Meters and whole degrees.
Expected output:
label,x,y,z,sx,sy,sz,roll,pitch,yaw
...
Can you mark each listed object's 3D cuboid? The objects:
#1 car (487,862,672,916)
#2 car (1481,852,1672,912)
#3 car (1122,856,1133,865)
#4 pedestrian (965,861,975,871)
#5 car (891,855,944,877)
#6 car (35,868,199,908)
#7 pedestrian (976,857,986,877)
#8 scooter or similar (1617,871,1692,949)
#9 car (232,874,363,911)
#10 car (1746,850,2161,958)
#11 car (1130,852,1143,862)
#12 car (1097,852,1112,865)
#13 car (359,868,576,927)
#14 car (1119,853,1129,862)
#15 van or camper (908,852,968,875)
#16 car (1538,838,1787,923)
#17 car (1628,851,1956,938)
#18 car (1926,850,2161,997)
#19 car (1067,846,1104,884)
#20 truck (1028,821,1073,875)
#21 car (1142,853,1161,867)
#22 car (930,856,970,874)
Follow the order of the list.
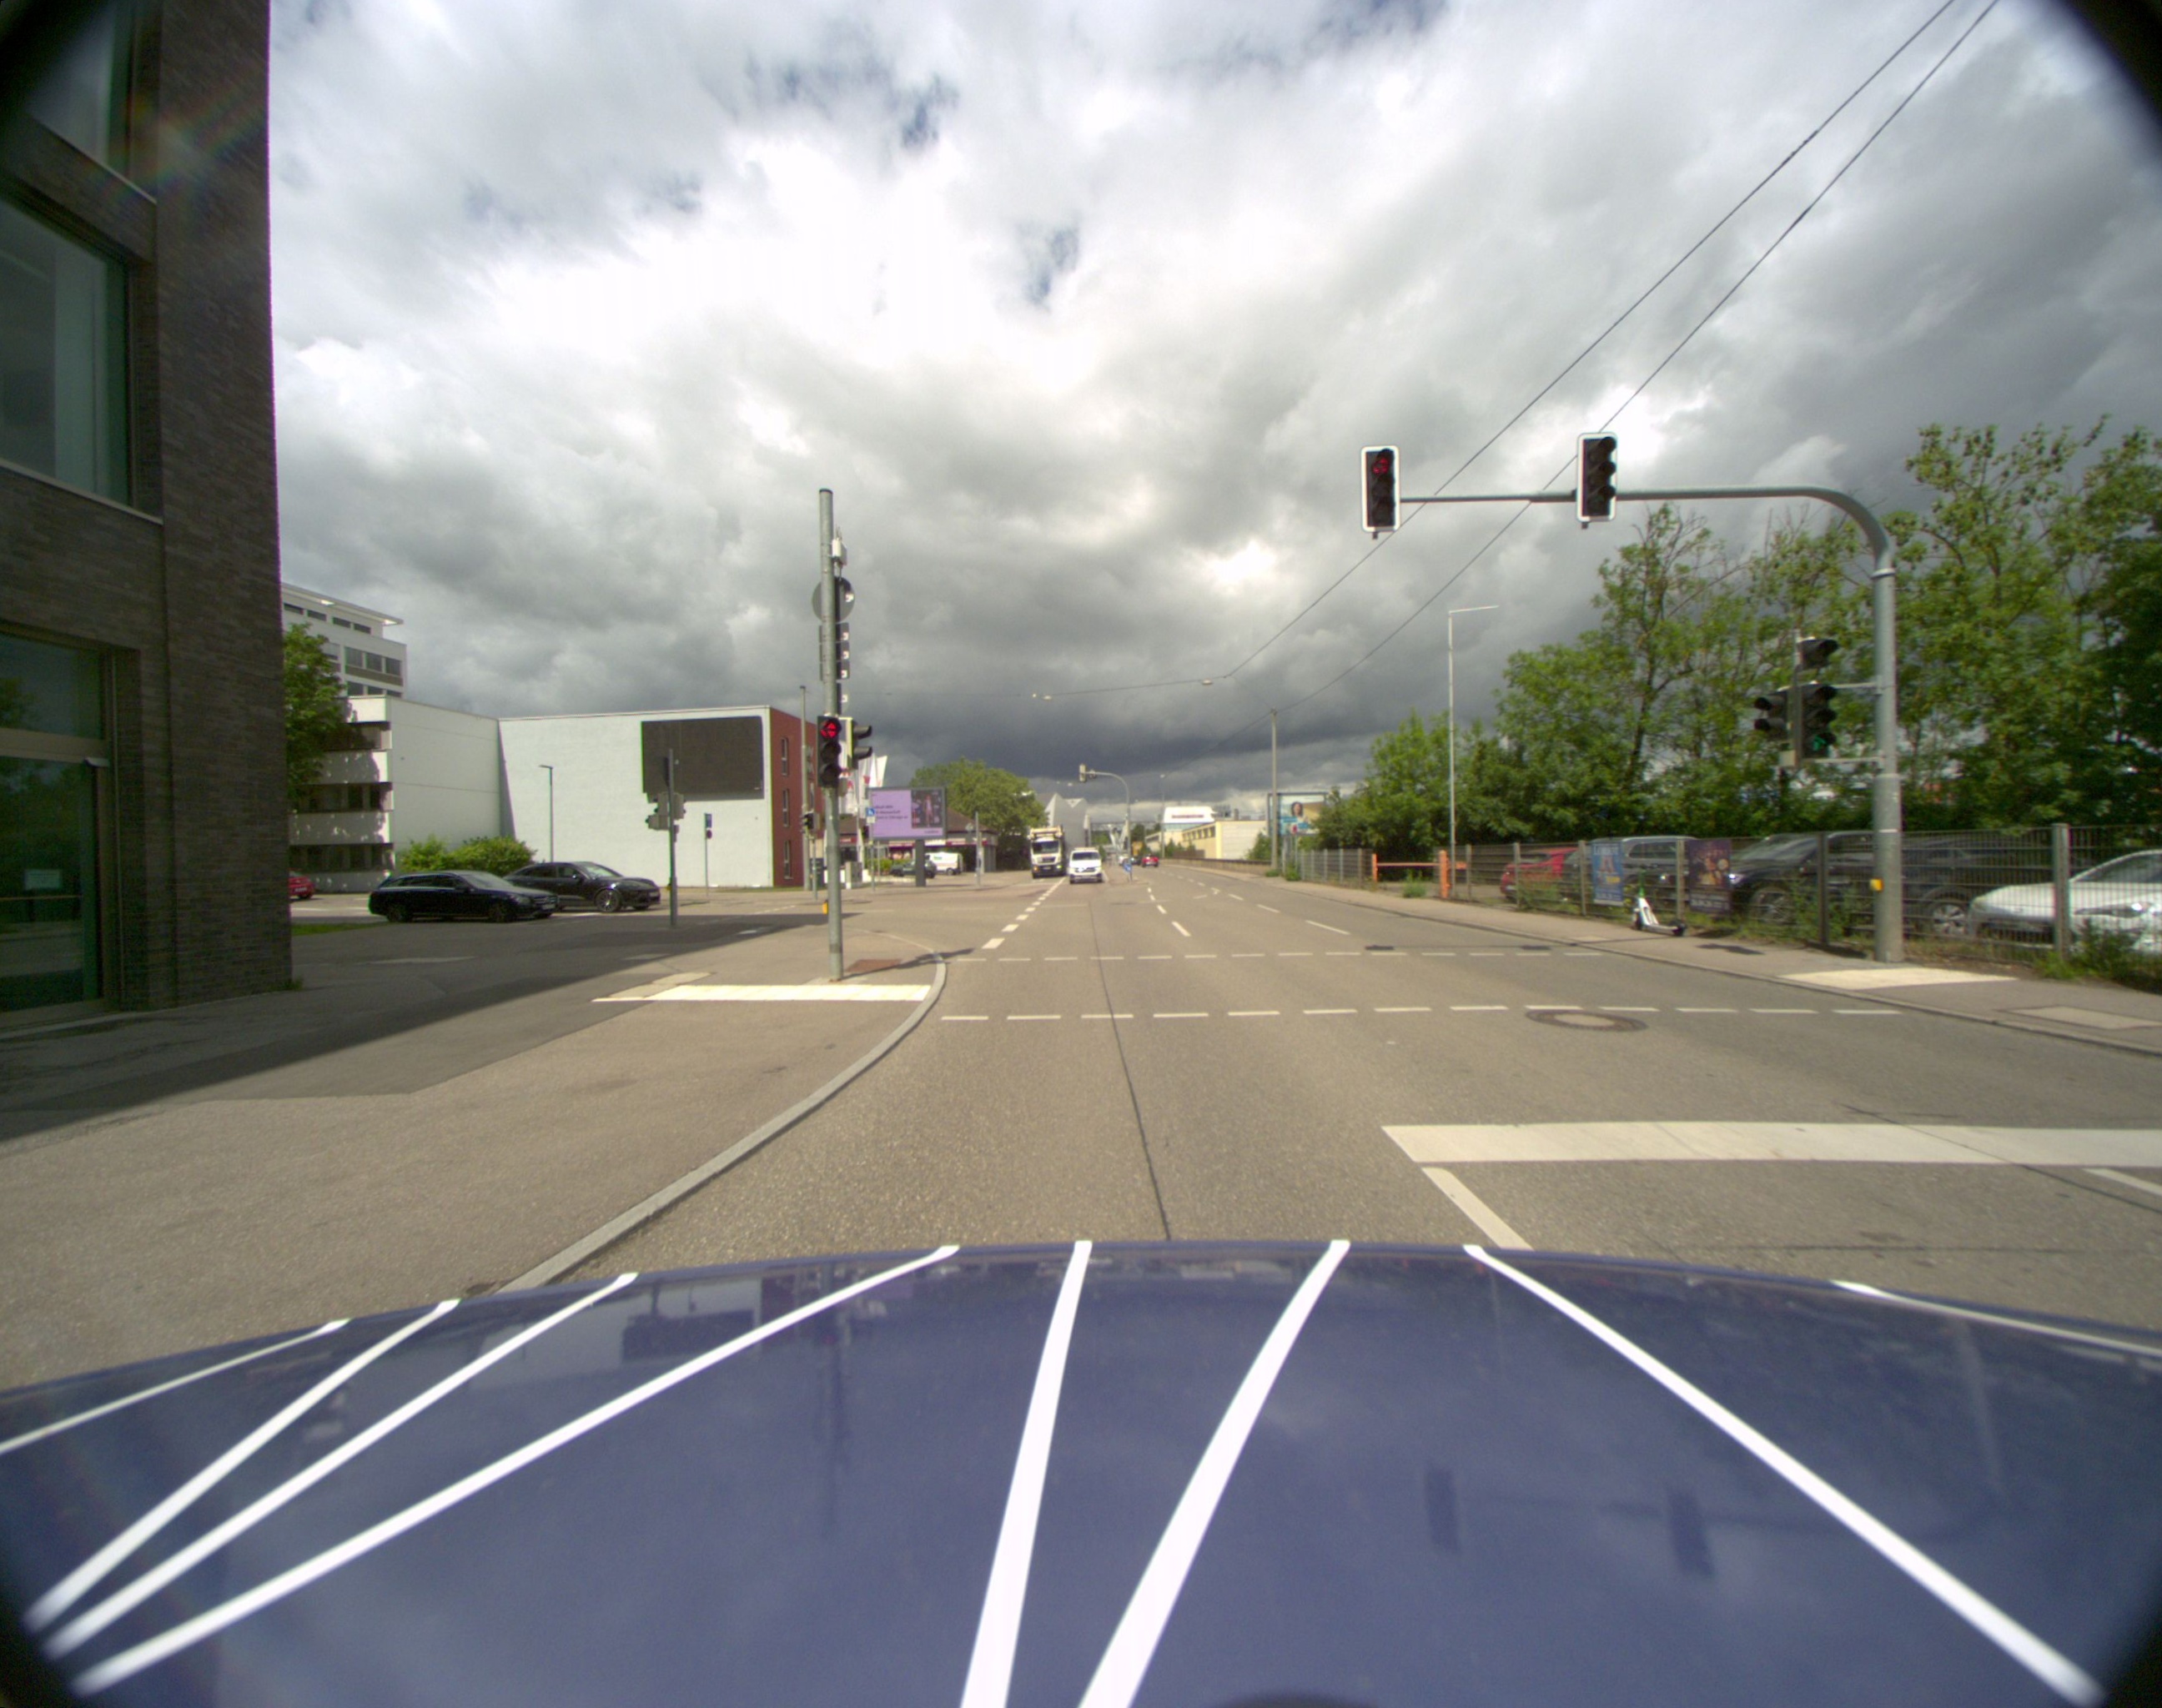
label,x,y,z,sx,sy,sz,roll,pitch,yaw
car,-16.236,1.094,24.785,4.651,1.609,2.000,-1,0,0
car,12.771,0.685,19.701,3.864,1.410,1.901,-1,0,-8
car,8.712,1.167,142.172,1.861,1.608,4.000,-1,0,1
pedestrian,-14.697,1.617,100.505,0.884,1.241,0.967,-1,0,29
car,-12.927,0.920,60.123,3.675,1.477,1.762,3,1,3
car,-40.971,1.431,32.386,4.311,1.560,1.870,-1,0,-5
pedestrian,-8.705,1.110,66.166,0.714,1.697,0.739,2,1,1
scooter or similar,9.612,0.910,12.770,0.424,1.203,1.126,-3,0,5
car,-33.936,1.666,32.987,3.679,1.453,1.745,-1,0,-5
car,12.882,0.677,11.417,4.114,1.410,1.999,-1,0,-3
car,8.844,0.513,121.834,1.861,1.608,4.000,-1,0,1
car,3.313,0.590,106.890,1.870,1.782,4.207,-1,0,0
car,-17.434,1.222,21.766,4.535,1.484,2.000,-1,1,1
car,9.159,0.777,163.722,1.896,2.002,5.650,-1,0,1
van or camper,-12.799,0.847,68.188,4.909,1.946,2.212,1,1,1
car,12.823,0.550,16.921,4.114,1.724,1.999,-1,0,-4
car,12.734,0.682,13.826,4.113,1.410,2.000,-1,0,-1
car,12.541,0.675,8.458,4.113,1.410,1.916,-1,0,1
car,0.323,0.591,44.555,1.935,2.078,4.208,-1,0,3
truck,-2.314,-0.480,60.856,2.836,3.889,10.365,-1,1,2
car,8.309,0.715,90.198,1.935,1.590,4.153,1,0,1
car,-12.285,1.012,71.308,3.460,1.477,1.835,3,1,-2
